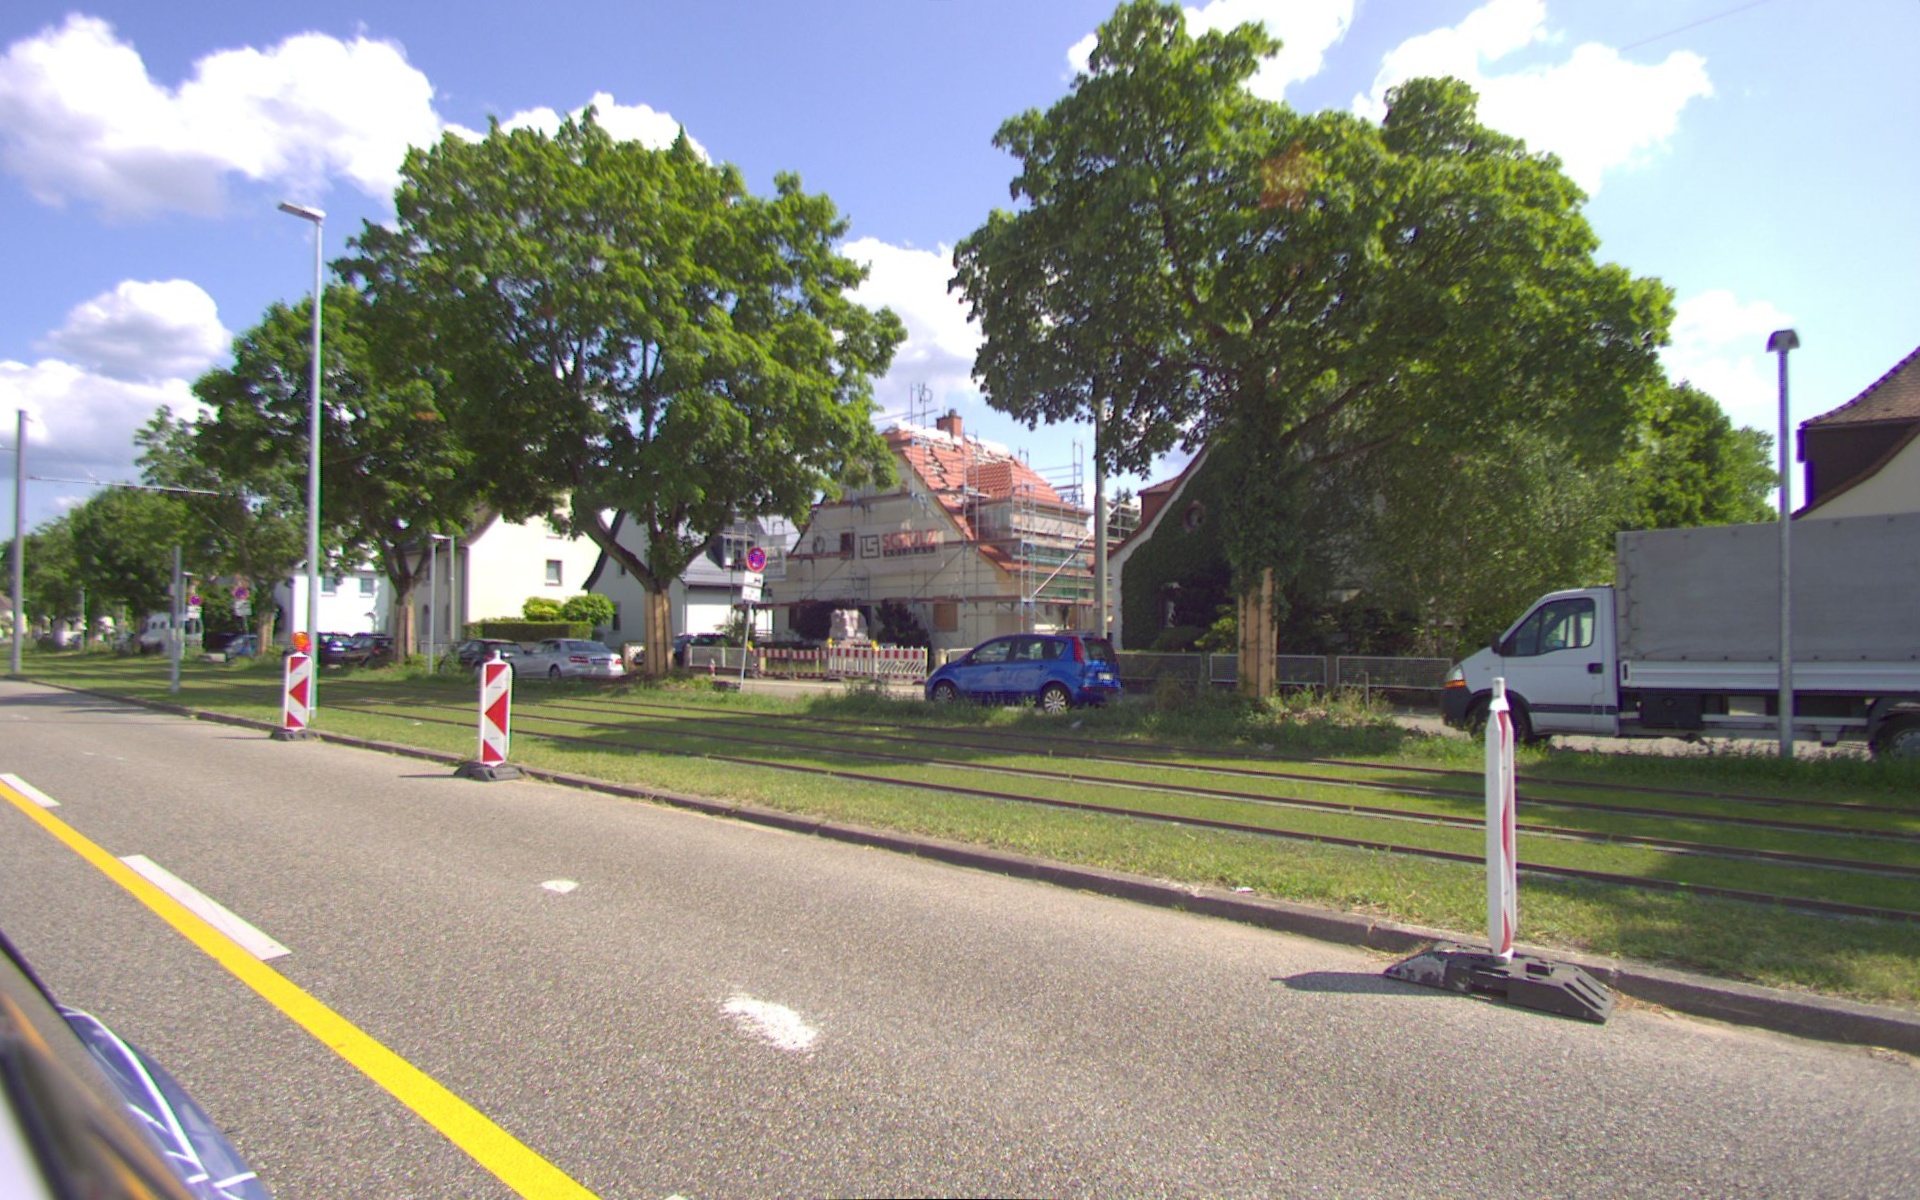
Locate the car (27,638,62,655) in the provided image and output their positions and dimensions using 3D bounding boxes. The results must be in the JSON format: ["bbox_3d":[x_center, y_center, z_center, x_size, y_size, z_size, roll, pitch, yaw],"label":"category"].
[{"bbox_3d":[-86.904,4.412,96.019,4.321,1.551,1.972,-1,-3,42],"label":"car"}]

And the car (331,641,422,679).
[{"bbox_3d":[-24.027,2.467,41.599,3.997,1.450,1.973,-1,-4,41],"label":"car"}]

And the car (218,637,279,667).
[{"bbox_3d":[-36.416,2.648,51.788,3.889,1.447,1.735,-1,-3,43],"label":"car"}]

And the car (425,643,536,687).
[{"bbox_3d":[-16.403,2.203,34.555,3.850,1.328,1.973,-1,-5,41],"label":"car"}]

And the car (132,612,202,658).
[{"bbox_3d":[-49.659,2.228,63.301,6.455,2.751,1.974,-2,-4,39],"label":"car"}]

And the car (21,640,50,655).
[{"bbox_3d":[-99.885,5.118,109.328,4.323,1.551,1.971,-1,-3,44],"label":"car"}]

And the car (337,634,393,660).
[{"bbox_3d":[-37.893,3.000,64.412,3.998,1.589,1.883,-1,-3,41],"label":"car"}]

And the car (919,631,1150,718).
[{"bbox_3d":[1.362,1.349,19.312,3.996,1.464,1.974,-1,-3,39],"label":"car"}]

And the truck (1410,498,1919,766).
[{"bbox_3d":[9.178,0.465,12.543,6.272,2.789,1.973,-2,-6,41],"label":"truck"}]

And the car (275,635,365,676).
[{"bbox_3d":[-28.663,2.438,45.276,4.385,1.704,1.975,-1,-3,38],"label":"car"}]

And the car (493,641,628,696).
[{"bbox_3d":[-12.366,2.052,31.137,4.937,1.494,1.786,-1,-3,41],"label":"car"}]

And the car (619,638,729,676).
[{"bbox_3d":[-11.722,2.313,41.700,1.981,1.412,3.946,-1,-1,41],"label":"car"}]

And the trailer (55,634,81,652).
[{"bbox_3d":[-75.454,3.635,85.578,2.280,1.530,1.286,-2,-3,41],"label":"trailer"}]

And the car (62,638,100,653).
[{"bbox_3d":[-71.381,3.679,82.184,3.834,1.101,1.763,-1,-3,41],"label":"car"}]
